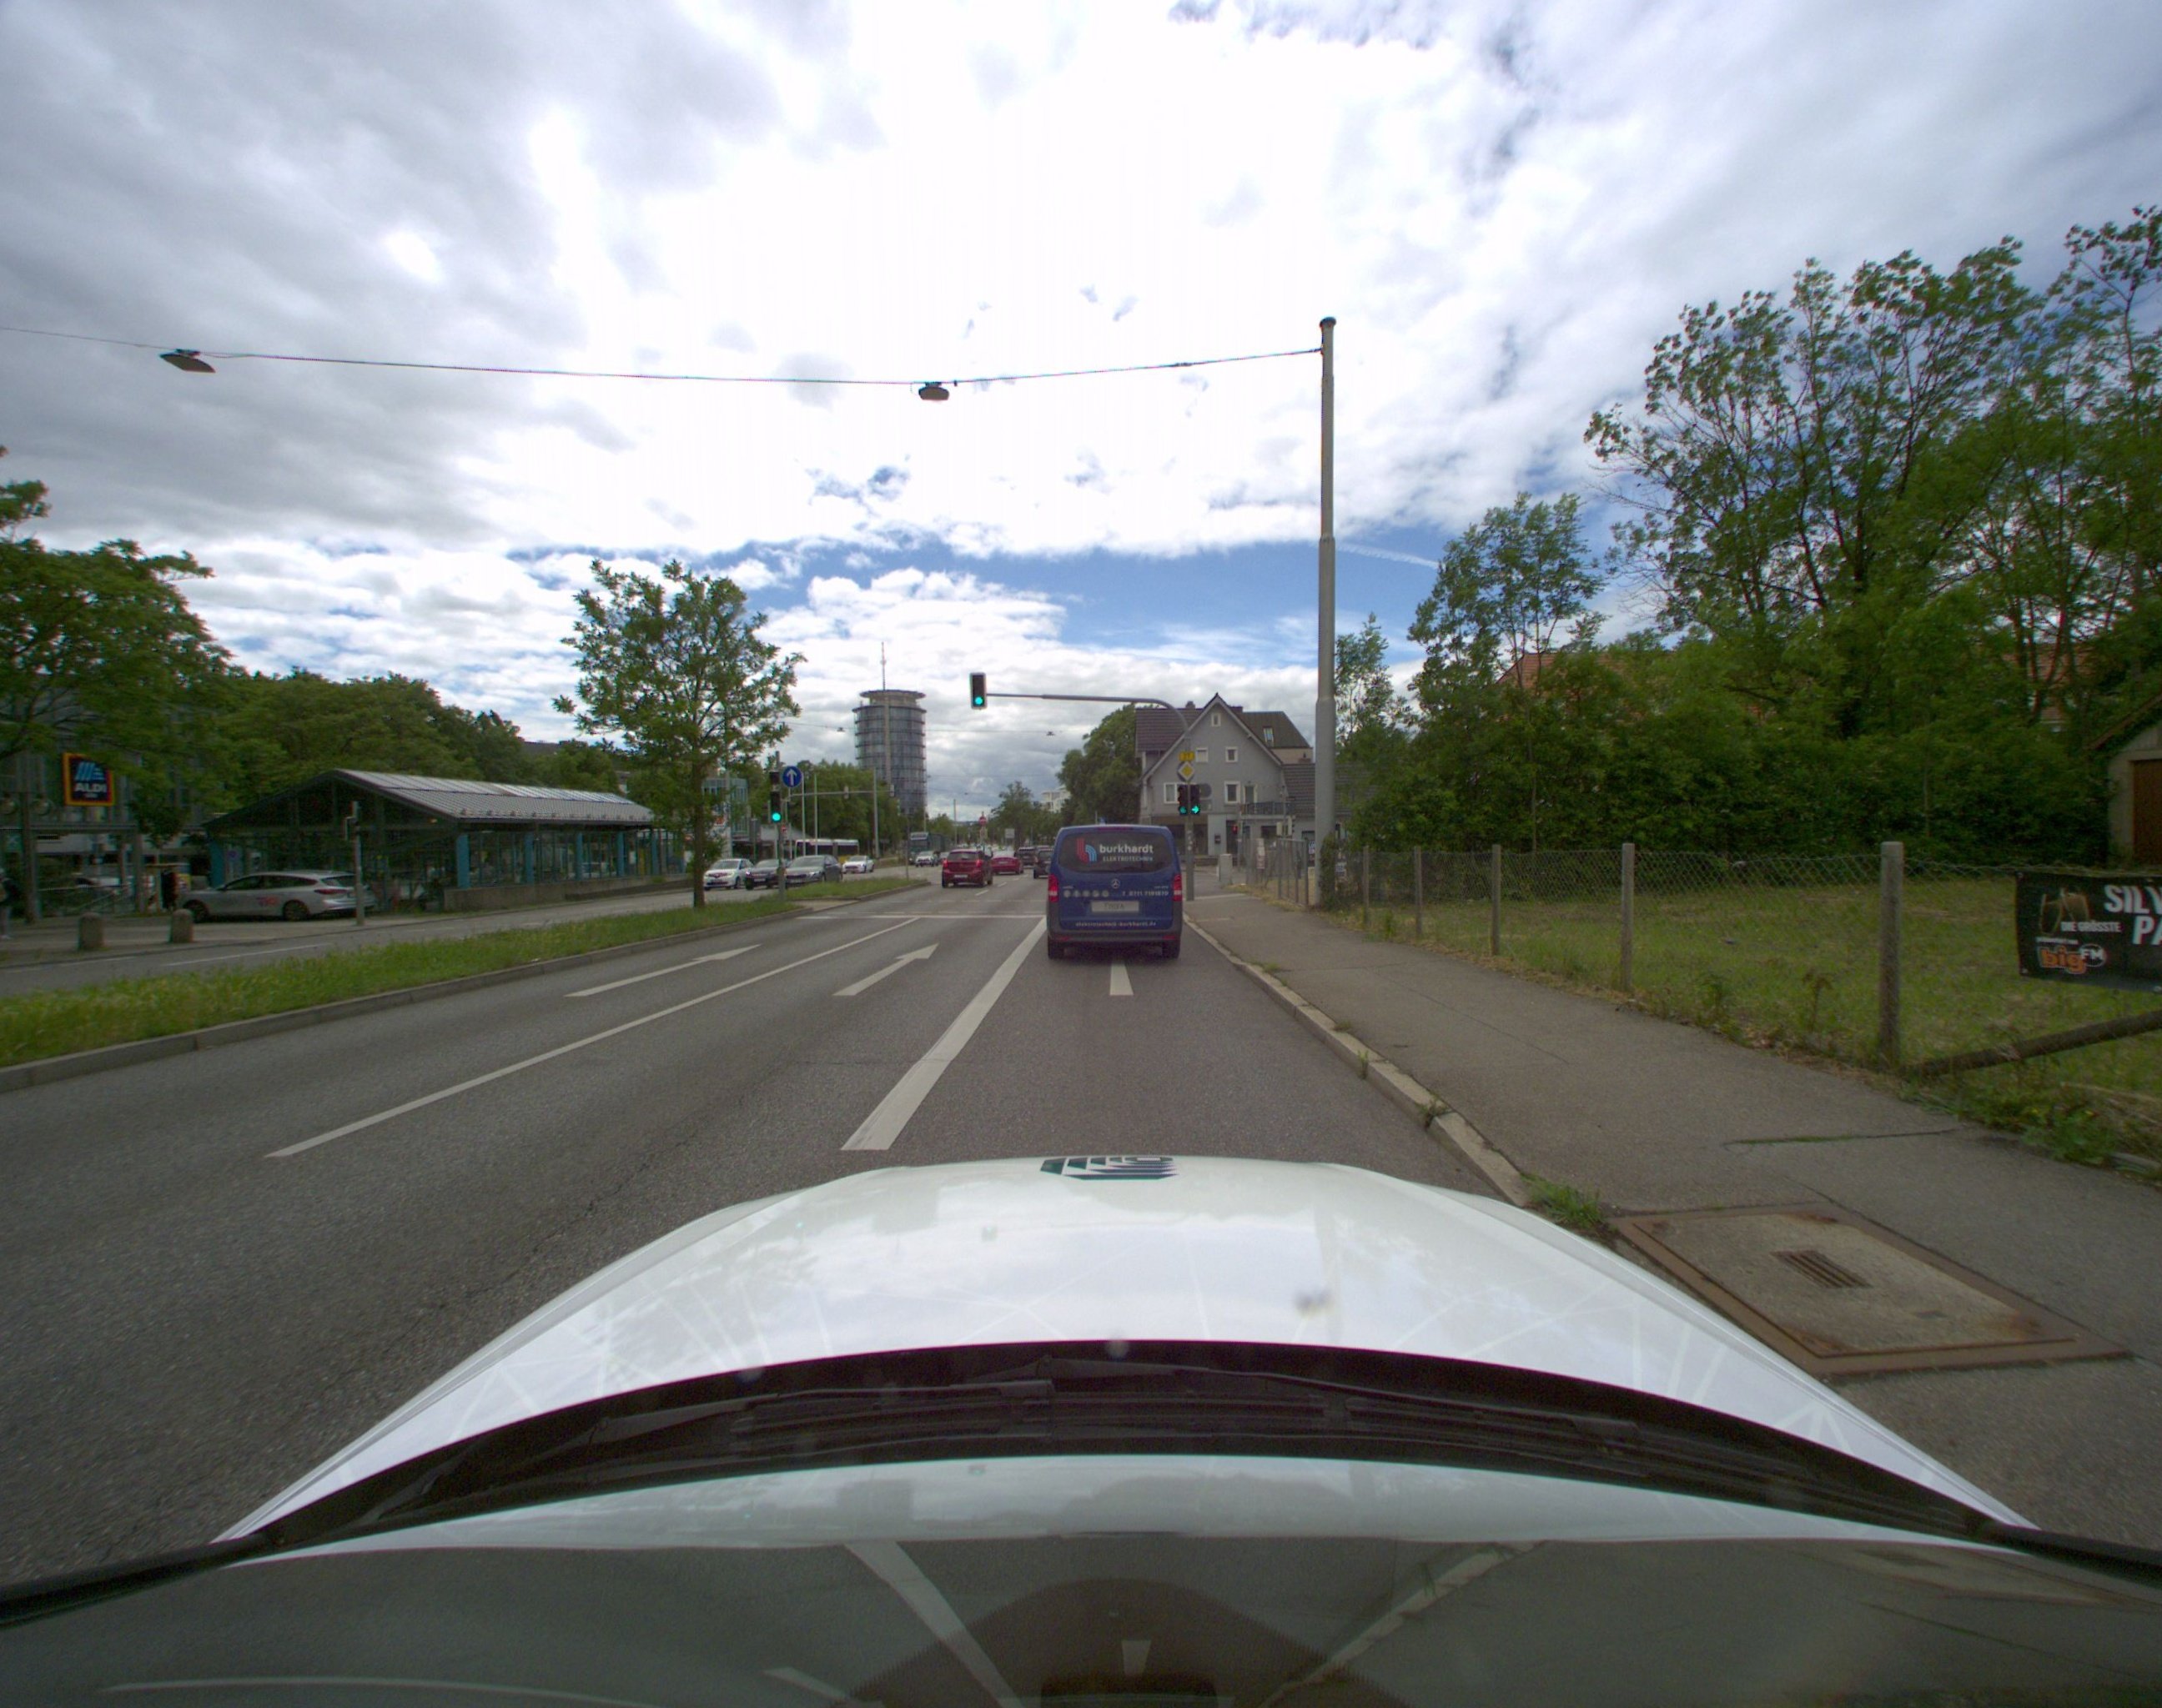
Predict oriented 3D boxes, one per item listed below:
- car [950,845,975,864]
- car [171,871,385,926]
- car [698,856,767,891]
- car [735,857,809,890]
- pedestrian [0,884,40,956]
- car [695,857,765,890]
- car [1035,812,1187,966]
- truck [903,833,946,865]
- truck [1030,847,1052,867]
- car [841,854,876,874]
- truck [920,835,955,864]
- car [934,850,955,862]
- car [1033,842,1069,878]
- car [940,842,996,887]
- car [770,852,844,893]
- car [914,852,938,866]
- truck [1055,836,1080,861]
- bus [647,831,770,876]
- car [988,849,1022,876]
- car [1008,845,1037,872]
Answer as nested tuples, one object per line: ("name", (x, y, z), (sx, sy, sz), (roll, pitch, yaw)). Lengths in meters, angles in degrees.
("car", (-12.835, 0.023, 88.594), (1.987, 2.013, 4.179), (-2, 0, 1))
("car", (-23.535, 1.259, 24.056), (3.989, 1.354, 1.993), (-2, 0, -11))
("car", (-17.669, 0.951, 41.525), (1.617, 1.574, 4.002), (-2, 0, 2))
("car", (-14.923, 0.883, 39.618), (1.809, 1.398, 5.006), (-3, 0, -3))
("pedestrian", (-22.975, 1.404, 17.369), (0.604, 1.458, 0.864), (0, 0, -23))
("car", (-17.747, 0.948, 41.393), (1.741, 1.517, 4.001), (0, 0, 1))
("car", (0.440, 0.442, 12.818), (1.941, 1.965, 4.542), (-1, 0, 1))
("truck", (-19.363, -0.593, 101.495), (3.359, 3.727, 11.273), (0, 0, -2))
("truck", (-4.353, 0.283, 89.237), (1.986, 2.165, 5.561), (1, 0, 1))
("car", (-18.480, 0.796, 67.776), (1.727, 1.574, 4.504), (-2, 0, -1))
("truck", (-19.664, -0.607, 112.255), (3.358, 3.727, 8.024), (-2, 0, -1))
("car", (-16.289, 0.205, 97.142), (1.792, 1.417, 3.999), (-2, 0, -1))
("car", (-1.530, 0.282, 42.407), (1.742, 1.723, 3.997), (-2, 1, -2))
("car", (-4.597, 0.401, 33.695), (1.741, 1.723, 4.000), (1, 1, 0))
("car", (-11.788, 0.740, 35.354), (1.990, 1.574, 4.508), (-2, 0, -5))
("car", (-16.159, 0.512, 84.943), (1.825, 1.262, 3.997), (-2, 0, -2))
("truck", (-1.186, -0.526, 73.633), (1.986, 2.165, 5.561), (1, 0, 1))
("bus", (-28.684, -0.042, 63.650), (2.942, 3.133, 12.180), (0, 0, 6))
("car", (-4.671, 0.531, 49.590), (1.867, 1.486, 3.989), (-2, -2, -7))
("car", (-4.572, 0.318, 63.301), (1.992, 2.013, 3.990), (0, 1, -8))
